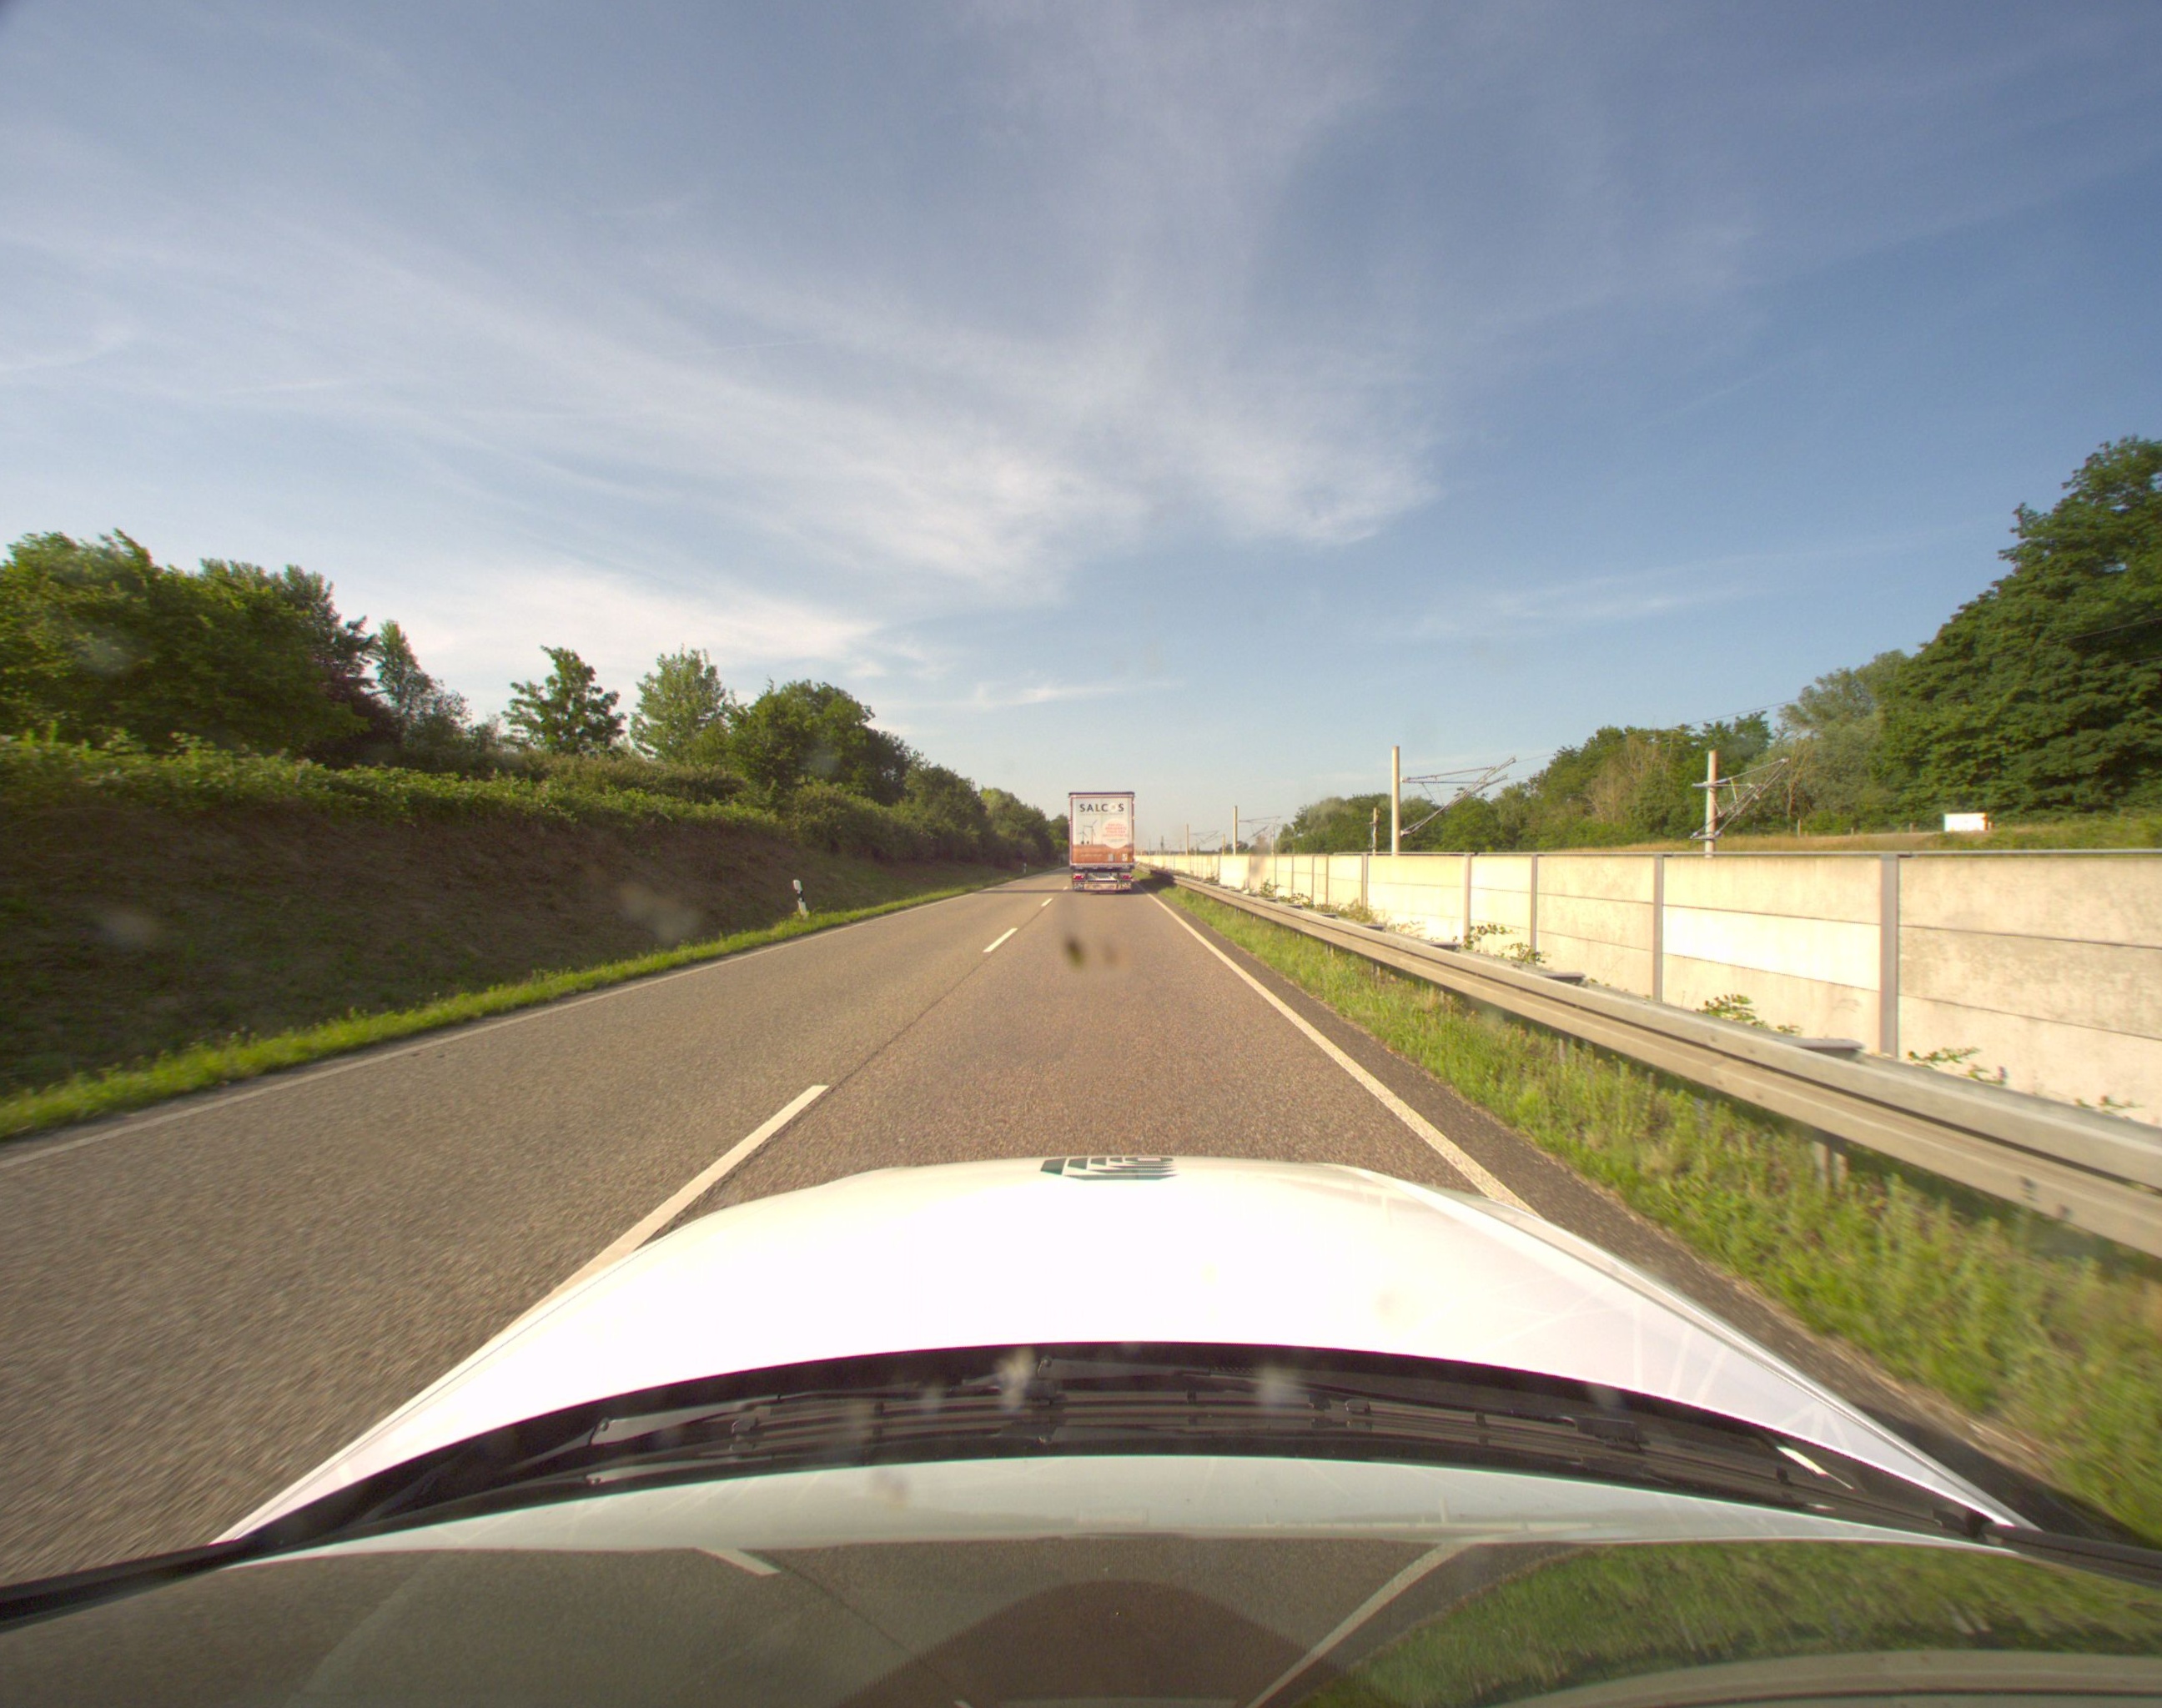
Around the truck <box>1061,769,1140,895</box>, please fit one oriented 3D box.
[{"bbox_3d":[0.827,-0.885,37.860,3.023,4.920,11.684,-1,0,1],"label":"truck"}]
